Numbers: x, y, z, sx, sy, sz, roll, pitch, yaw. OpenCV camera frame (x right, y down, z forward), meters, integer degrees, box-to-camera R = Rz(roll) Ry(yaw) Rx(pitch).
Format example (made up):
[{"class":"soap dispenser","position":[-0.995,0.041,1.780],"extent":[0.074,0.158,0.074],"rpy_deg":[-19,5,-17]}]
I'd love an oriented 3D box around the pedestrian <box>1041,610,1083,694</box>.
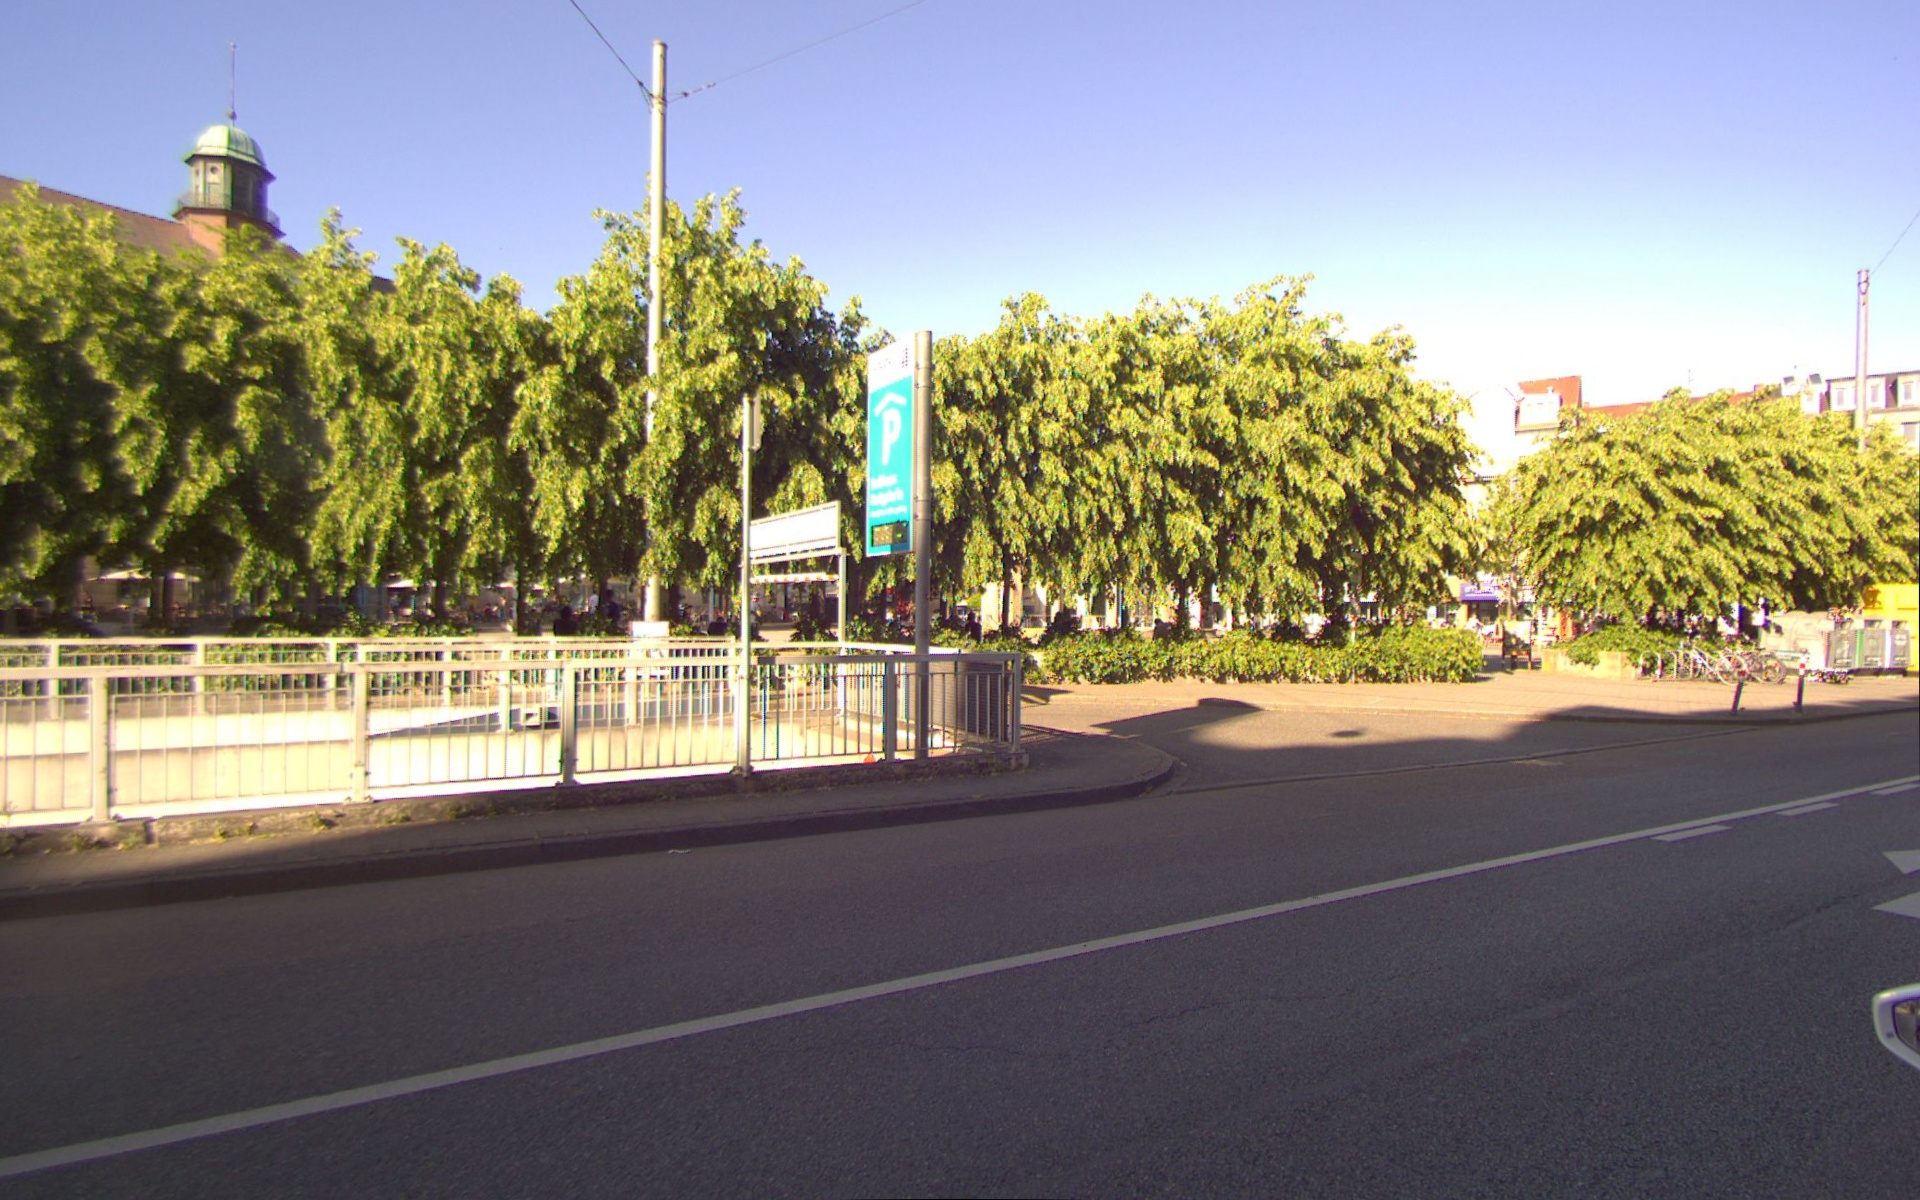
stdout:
[{"class":"pedestrian","position":[2.334,1.180,22.967],"extent":[0.722,1.881,0.578],"rpy_deg":[1,0,-27]}]

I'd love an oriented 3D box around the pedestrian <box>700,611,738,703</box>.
[{"class":"pedestrian","position":[-5.060,1.173,21.094],"extent":[0.595,1.881,0.577],"rpy_deg":[1,0,-33]}]

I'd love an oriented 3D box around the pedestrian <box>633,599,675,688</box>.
[{"class":"pedestrian","position":[-6.699,0.939,21.974],"extent":[0.672,1.881,0.576],"rpy_deg":[1,1,-41]}]

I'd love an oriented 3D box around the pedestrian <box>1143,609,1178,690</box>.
[{"class":"pedestrian","position":[4.736,1.155,23.716],"extent":[0.574,1.881,0.598],"rpy_deg":[2,1,41]}]

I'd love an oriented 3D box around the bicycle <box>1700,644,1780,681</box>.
[{"class":"bicycle","position":[18.505,1.478,23.862],"extent":[0.435,0.779,1.469],"rpy_deg":[1,0,-24]}]

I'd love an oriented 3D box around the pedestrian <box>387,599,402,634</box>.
[{"class":"pedestrian","position":[-29.788,0.860,52.898],"extent":[0.596,1.816,0.576],"rpy_deg":[1,1,-40]}]

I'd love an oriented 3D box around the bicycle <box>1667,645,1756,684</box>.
[{"class":"bicycle","position":[17.301,1.466,23.175],"extent":[0.467,0.779,1.654],"rpy_deg":[1,0,-20]}]

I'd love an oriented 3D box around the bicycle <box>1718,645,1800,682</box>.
[{"class":"bicycle","position":[19.057,1.501,23.984],"extent":[0.468,0.779,1.468],"rpy_deg":[1,0,-26]}]

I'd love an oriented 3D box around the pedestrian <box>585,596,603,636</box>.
[{"class":"pedestrian","position":[-17.183,0.743,47.113],"extent":[0.597,1.816,0.575],"rpy_deg":[1,1,-43]}]

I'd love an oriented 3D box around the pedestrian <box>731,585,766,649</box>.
[{"class":"pedestrian","position":[-6.028,0.481,28.650],"extent":[0.918,1.775,0.729],"rpy_deg":[1,0,-14]}]
